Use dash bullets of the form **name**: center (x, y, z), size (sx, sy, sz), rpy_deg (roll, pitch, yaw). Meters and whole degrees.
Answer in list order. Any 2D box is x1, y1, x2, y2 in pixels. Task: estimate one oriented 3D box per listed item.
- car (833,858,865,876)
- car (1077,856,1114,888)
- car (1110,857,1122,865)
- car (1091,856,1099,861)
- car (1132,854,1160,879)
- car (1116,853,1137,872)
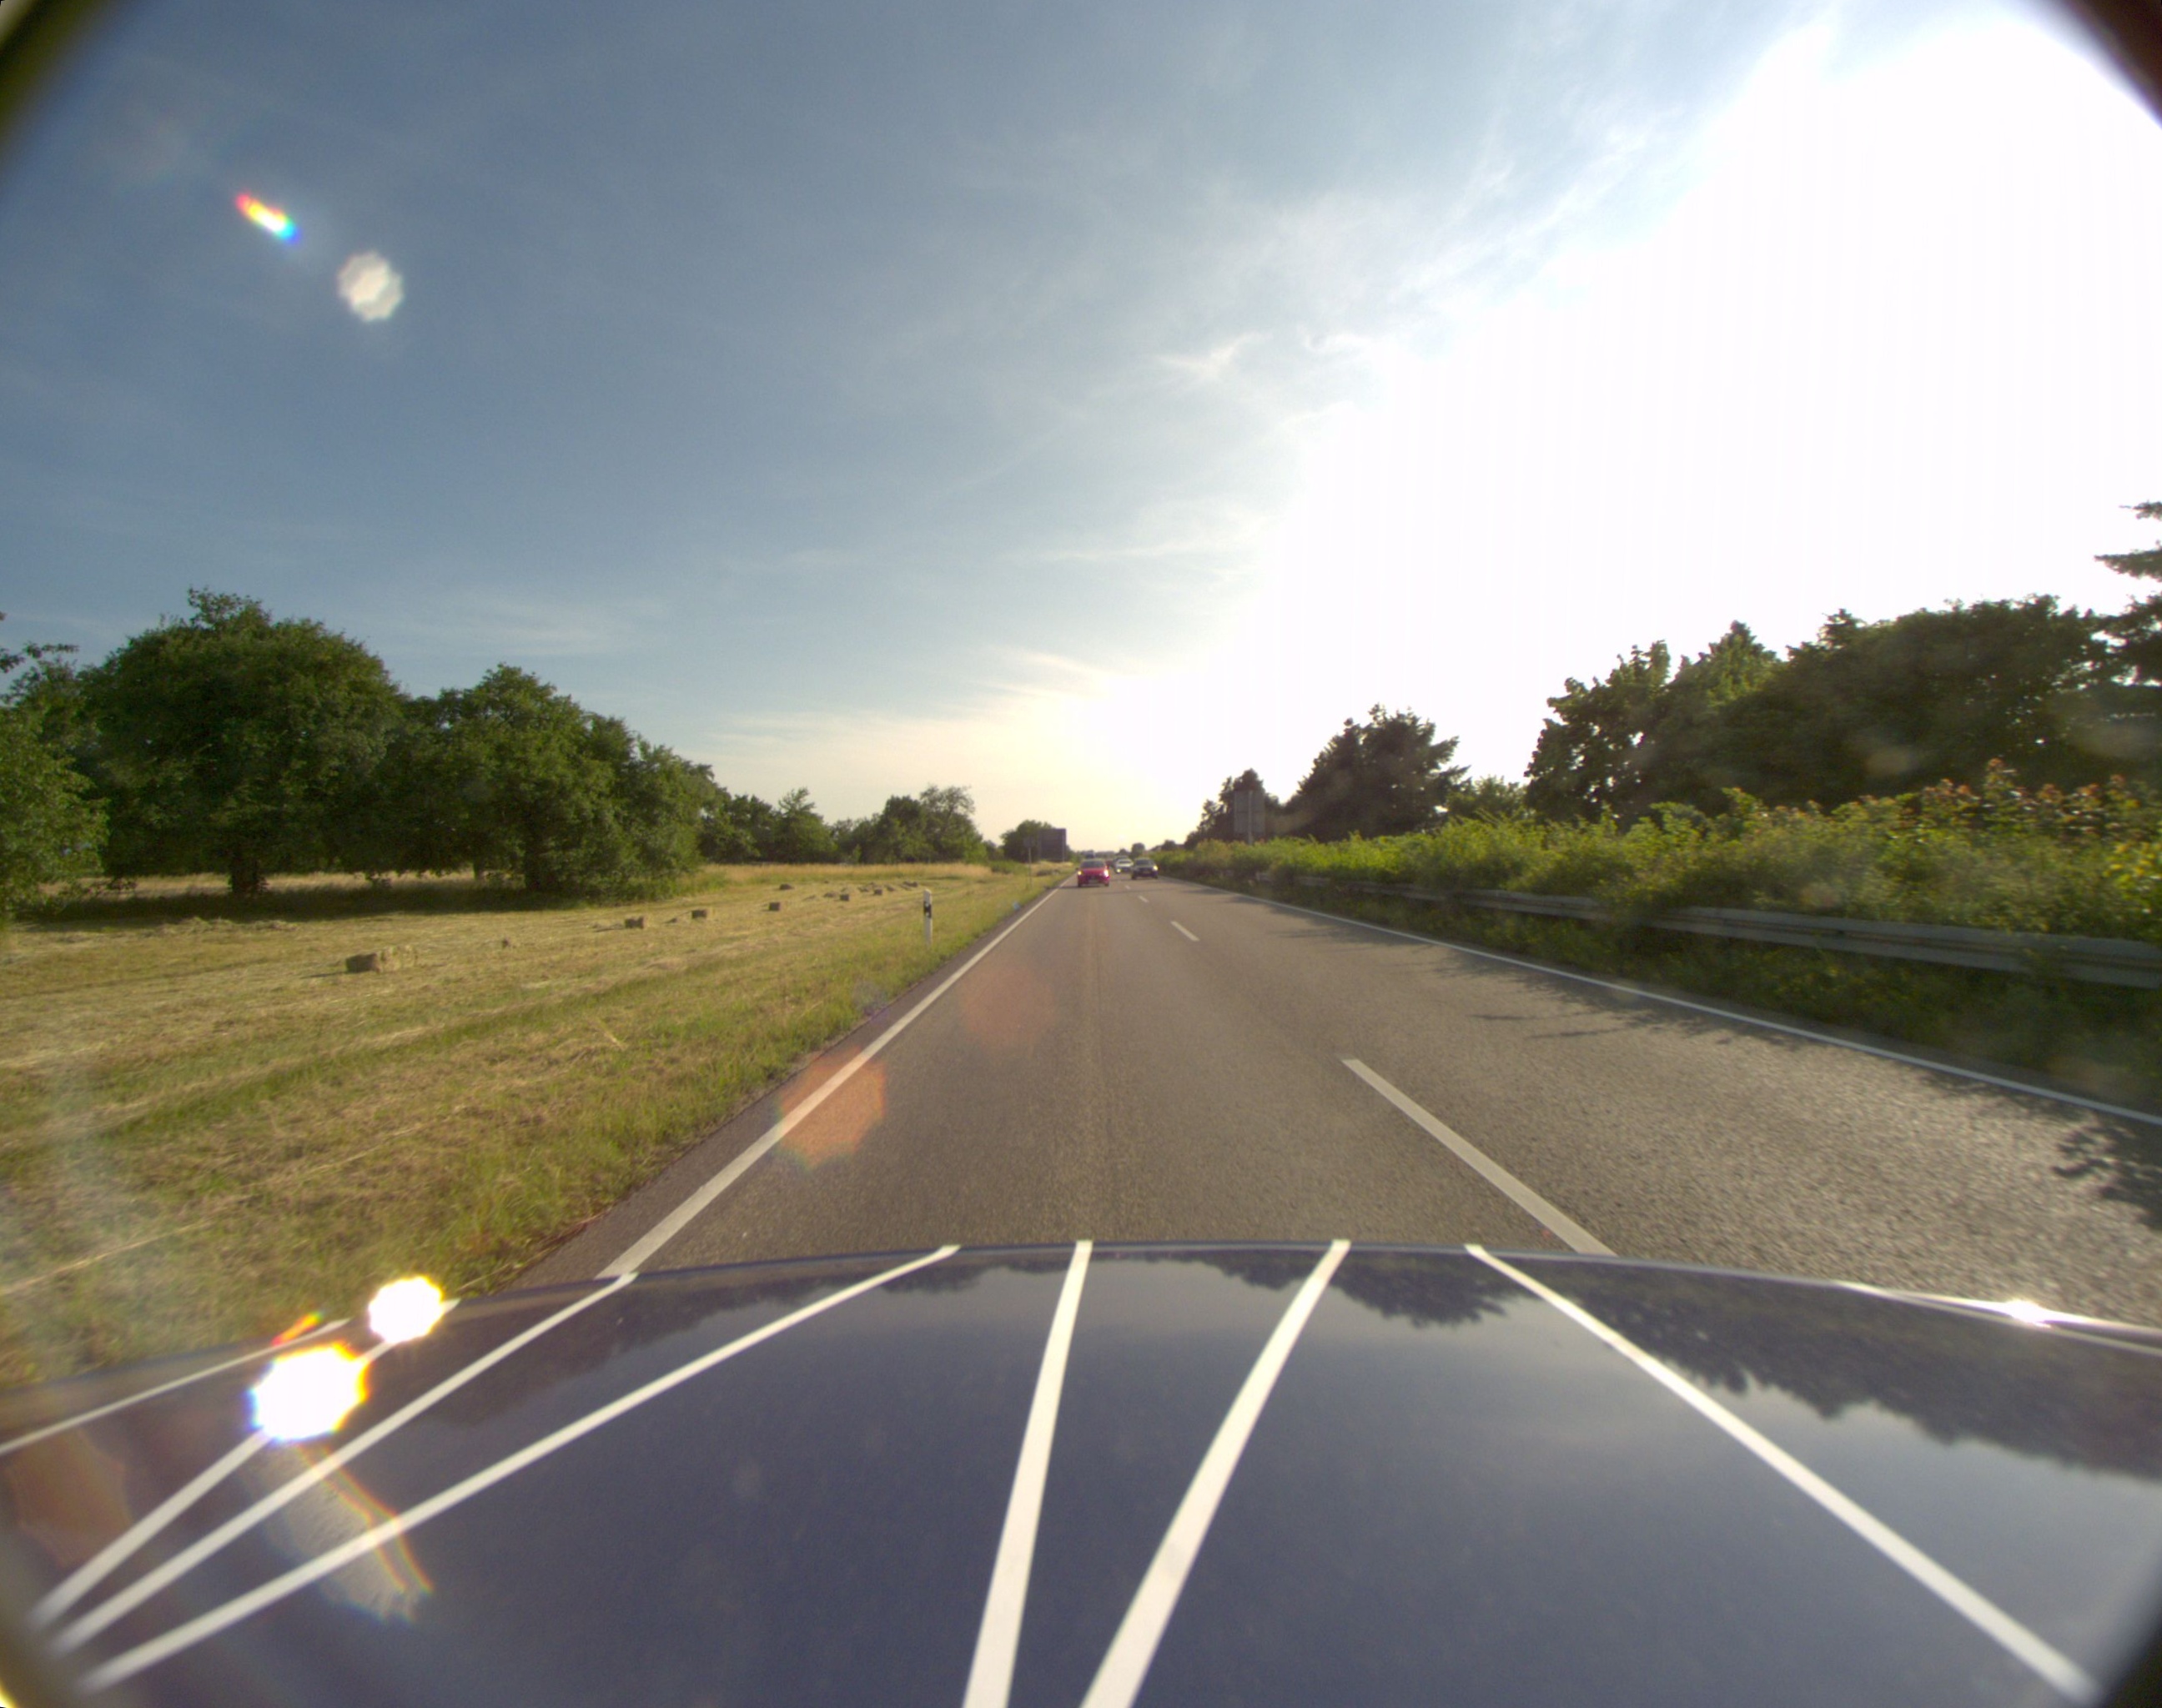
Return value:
- **car**: center (-24.135, 1.338, 79.219), size (1.998, 1.739, 4.000), rpy_deg (-2, 0, 0)
- **car**: center (0.830, 0.905, 40.690), size (1.821, 1.565, 4.001), rpy_deg (-2, 0, 2)
- **car**: center (6.200, 1.220, 134.678), size (1.998, 1.412, 4.001), rpy_deg (-2, 0, 2)
- **car**: center (3.865, 1.333, 211.859), size (1.998, 1.412, 4.001), rpy_deg (-2, 0, 2)
- **car**: center (4.542, 0.851, 53.608), size (1.693, 1.695, 4.000), rpy_deg (-2, 0, 2)
- **car**: center (4.640, 0.857, 77.985), size (1.998, 1.762, 4.001), rpy_deg (-2, 0, 2)
